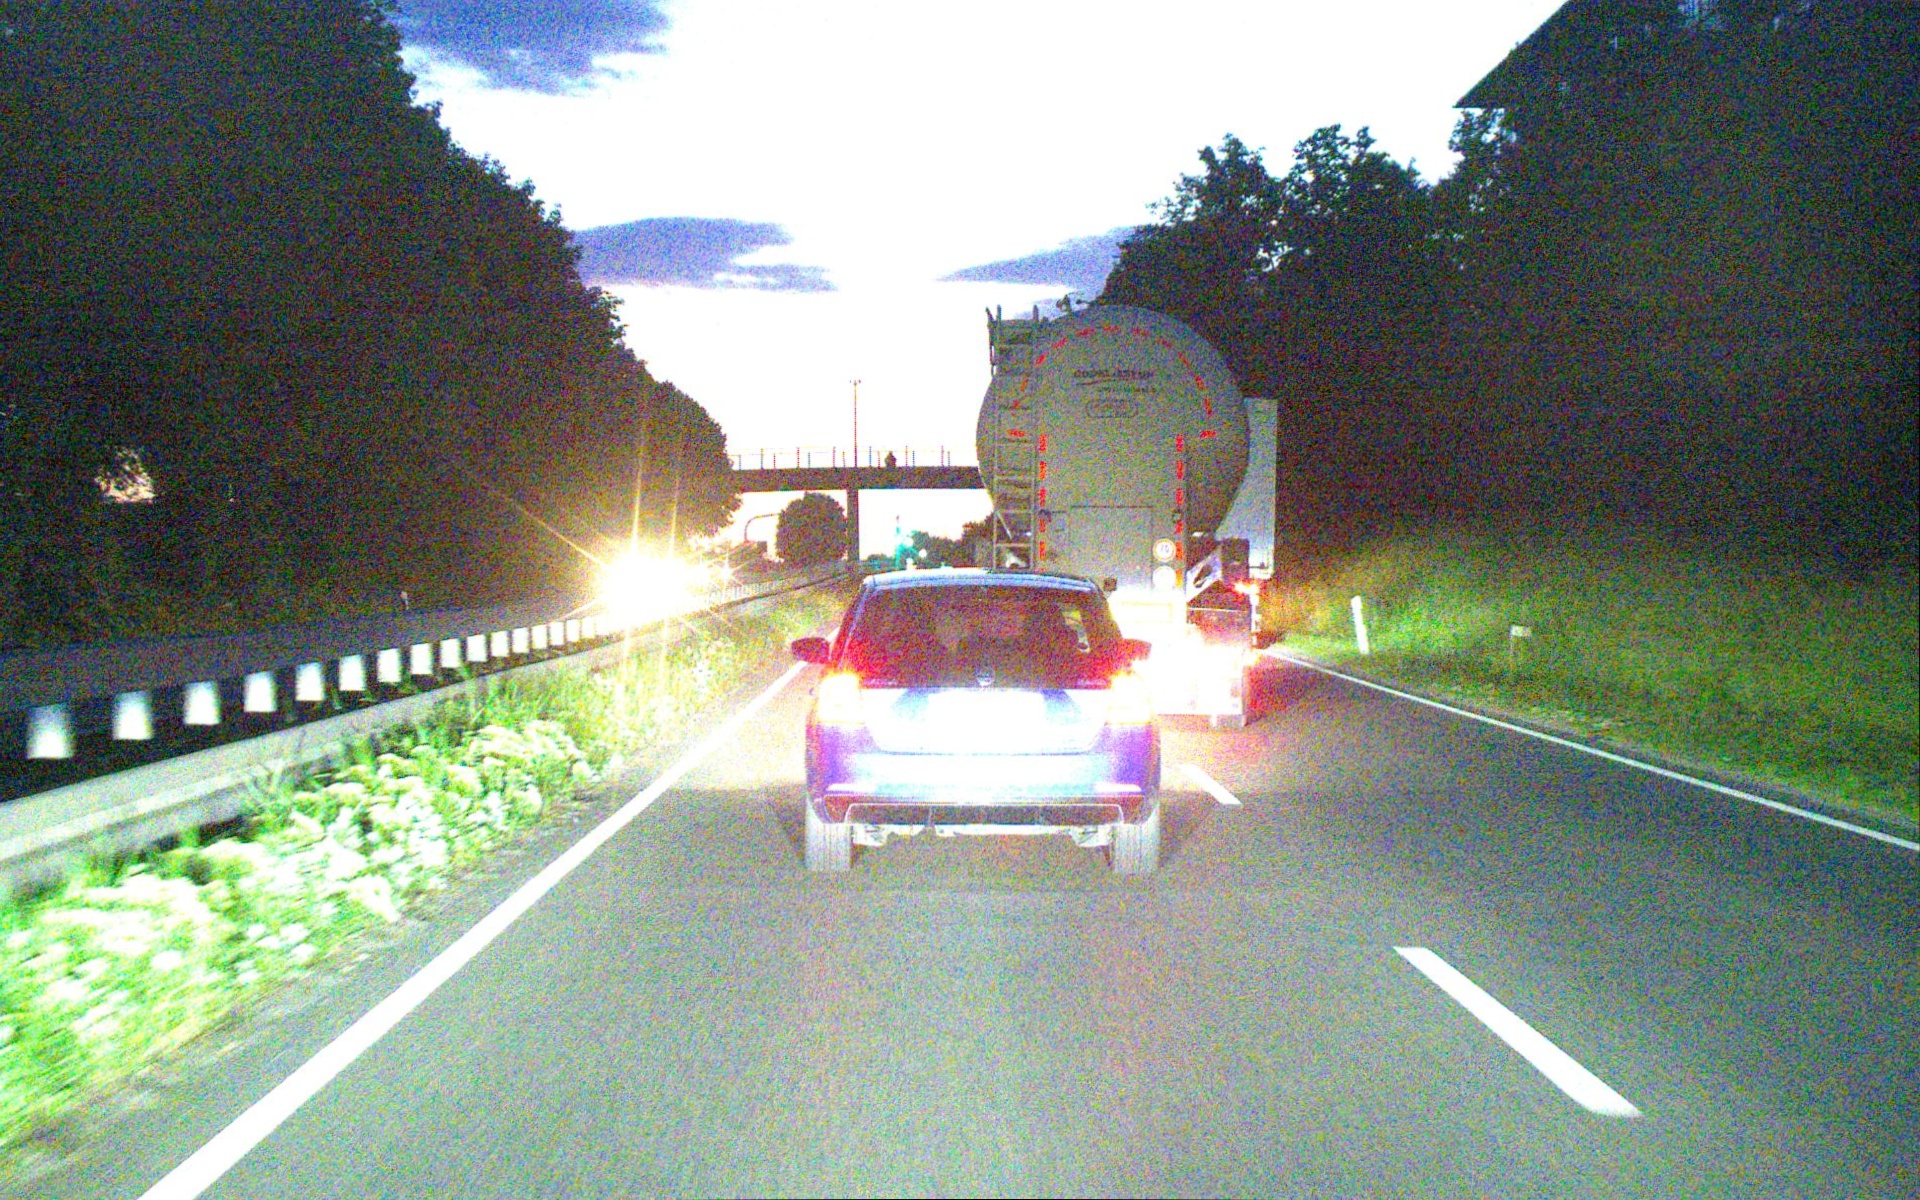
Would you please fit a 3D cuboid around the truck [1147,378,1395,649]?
[{"bbox_3d":[5.080,-1.364,58.700,2.883,4.092,12.684,1,0,-1],"label":"truck"}]

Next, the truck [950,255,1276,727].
[{"bbox_3d":[1.320,-1.000,36.609,2.687,4.092,13.142,1,0,-1],"label":"truck"}]

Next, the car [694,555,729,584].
[{"bbox_3d":[-13.246,-1.616,183.454,1.617,1.502,3.869,1,0,-1],"label":"car"}]

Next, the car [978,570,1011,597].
[{"bbox_3d":[1.857,-0.902,185.056,1.695,1.447,3.914,1,0,-1],"label":"car"}]

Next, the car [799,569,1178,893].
[{"bbox_3d":[0.105,0.578,17.486,1.695,1.447,3.914,1,0,-1],"label":"car"}]

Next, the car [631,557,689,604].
[{"bbox_3d":[-10.472,-0.688,120.139,1.682,1.582,4.167,1,1,-1],"label":"car"}]
